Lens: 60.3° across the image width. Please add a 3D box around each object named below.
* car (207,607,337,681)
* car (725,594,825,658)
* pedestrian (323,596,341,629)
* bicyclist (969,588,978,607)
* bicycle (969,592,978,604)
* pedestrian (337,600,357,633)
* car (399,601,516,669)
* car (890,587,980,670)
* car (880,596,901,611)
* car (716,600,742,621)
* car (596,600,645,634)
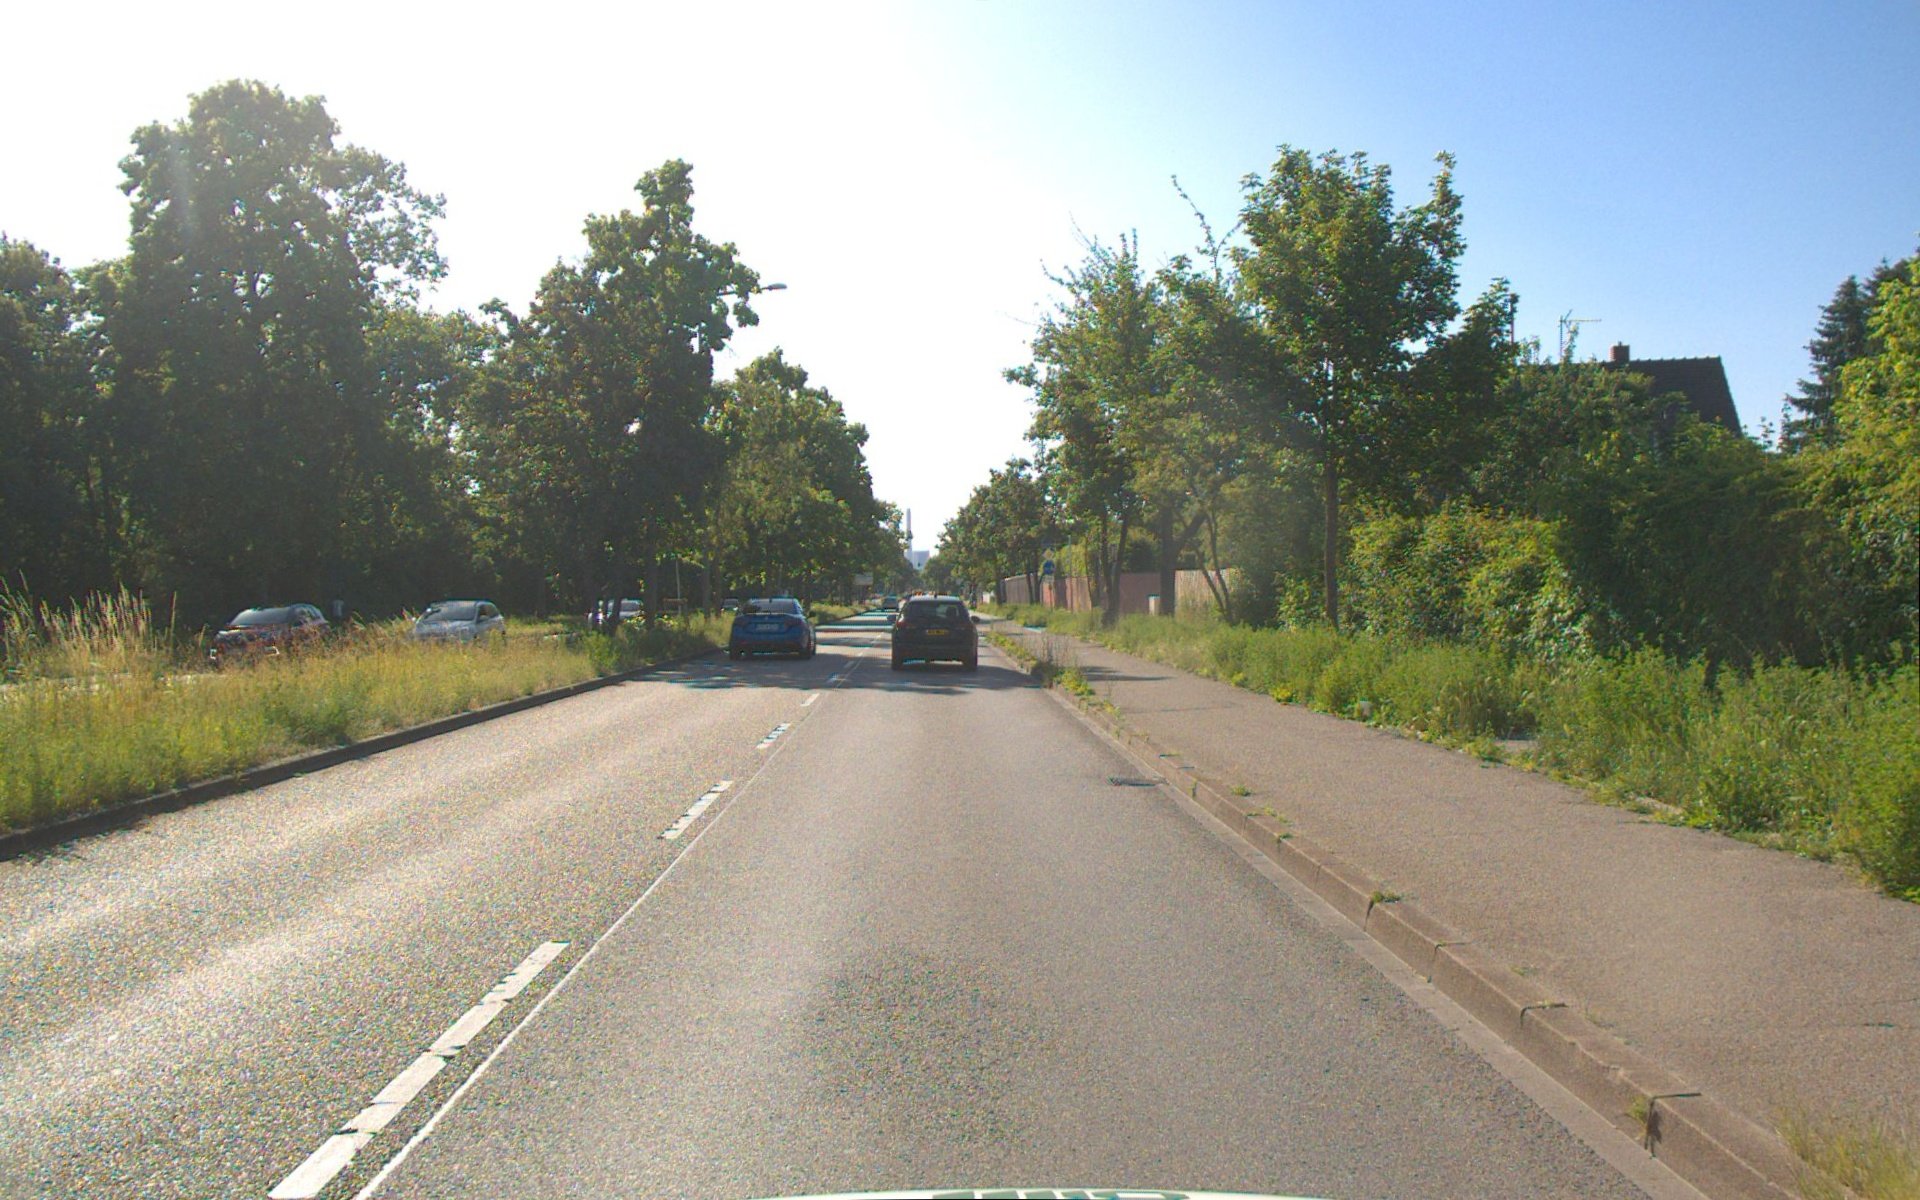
[{"bbox_3d":[-16.705,1.026,40.371,1.572,1.590,3.998,-3,1,-3],"label":"car"},{"bbox_3d":[-4.345,0.583,39.374,1.954,1.429,3.999,0,0,-1],"label":"car"},{"bbox_3d":[-28.802,0.591,75.833,0.533,1.485,0.595,2,-1,-2],"label":"pedestrian"},{"bbox_3d":[1.083,-0.207,131.061,0.666,1.443,0.812,-1,0,-2],"label":"bicyclist"},{"bbox_3d":[1.074,-0.174,130.949,0.642,0.908,1.874,-1,0,-1],"label":"bicycle"},{"bbox_3d":[-28.136,0.772,75.928,0.533,1.485,0.917,-1,0,-2],"label":"pedestrian"},{"bbox_3d":[-12.934,0.868,42.787,1.678,1.630,4.358,-1,0,0],"label":"car"},{"bbox_3d":[-0.497,0.560,34.053,1.724,1.586,3.999,1,0,0],"label":"car"},{"bbox_3d":[-7.201,0.381,171.683,1.940,1.465,3.996,-1,1,-5],"label":"car"},{"bbox_3d":[-19.188,0.853,137.523,1.680,1.531,3.016,-2,2,-1],"label":"car"},{"bbox_3d":[-17.403,0.855,84.972,1.803,1.617,4.583,-1,0,-3],"label":"car"}]
